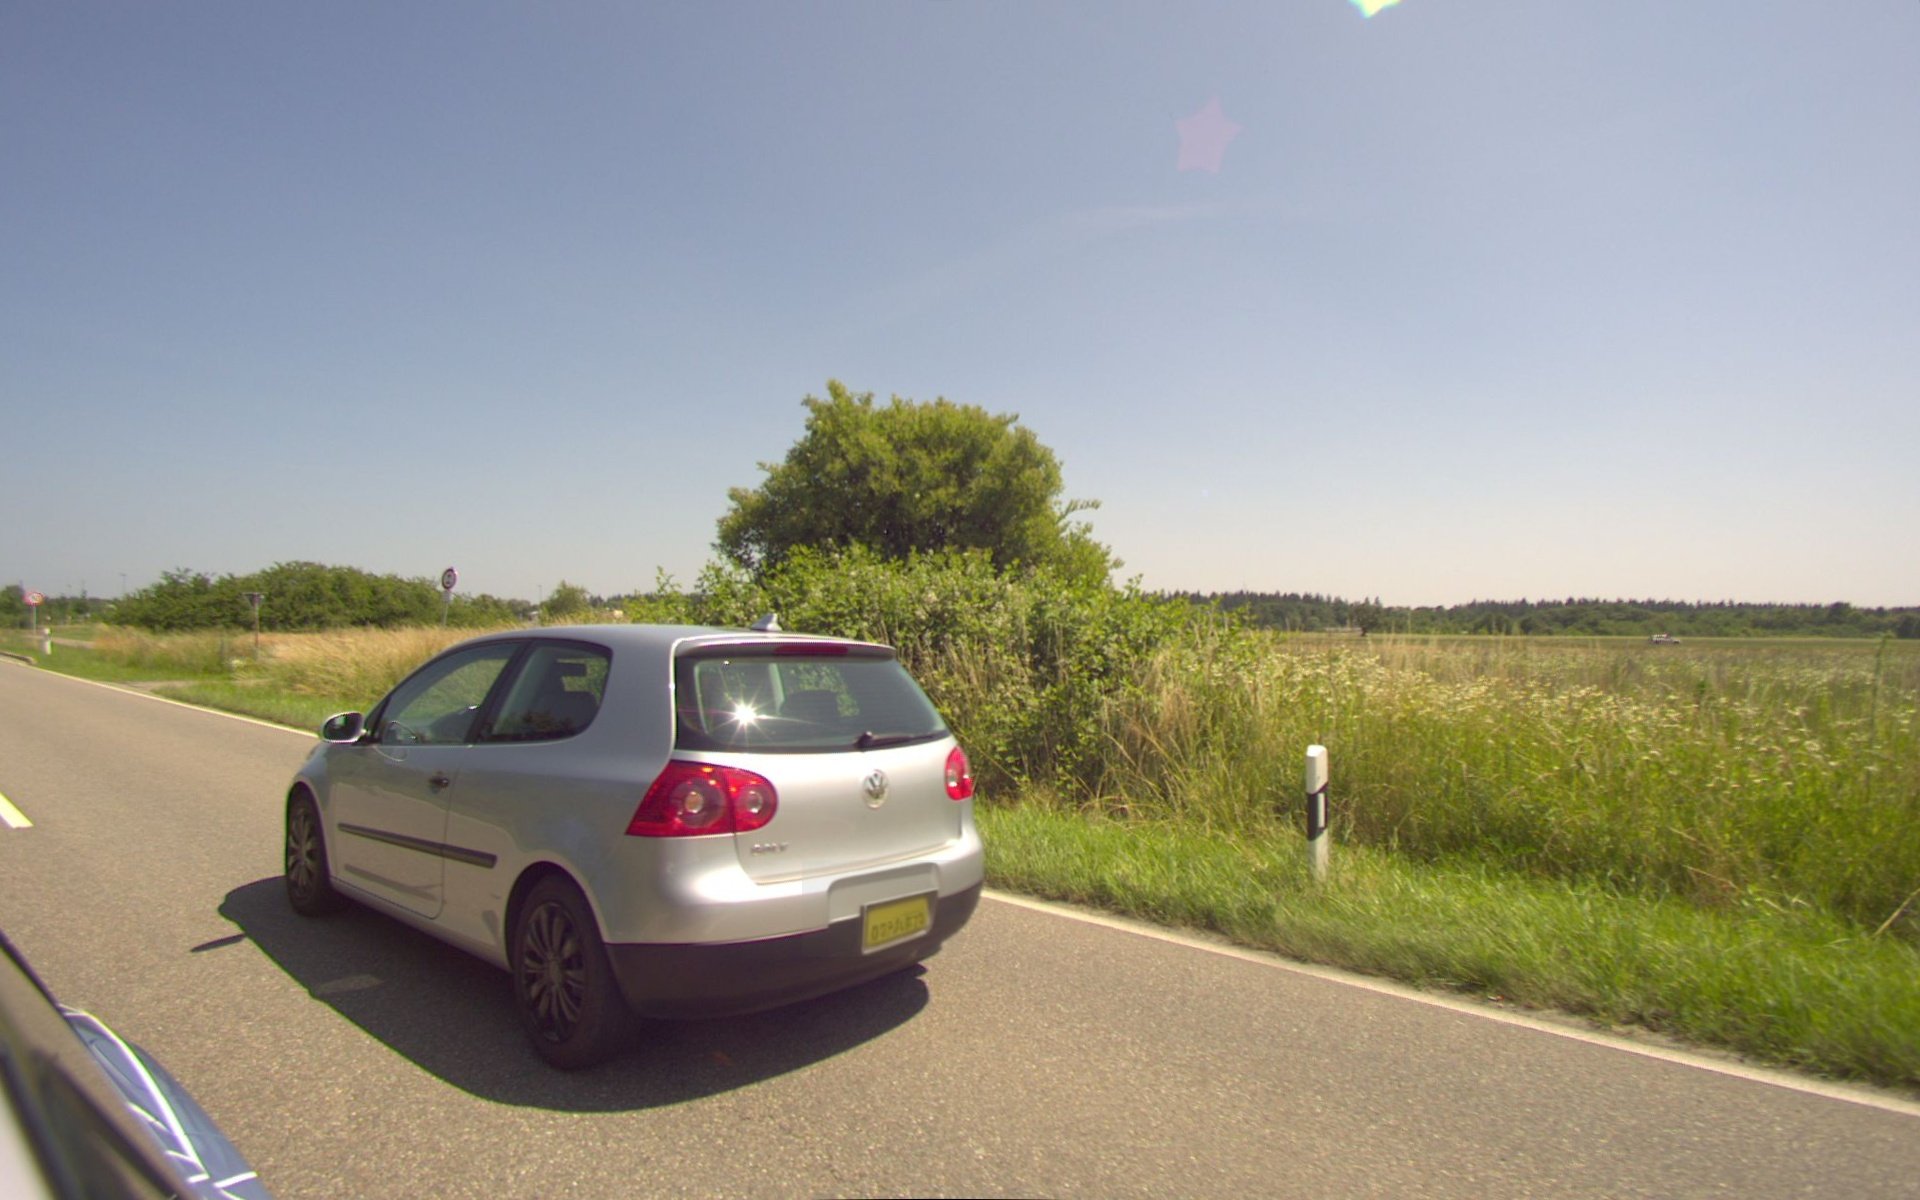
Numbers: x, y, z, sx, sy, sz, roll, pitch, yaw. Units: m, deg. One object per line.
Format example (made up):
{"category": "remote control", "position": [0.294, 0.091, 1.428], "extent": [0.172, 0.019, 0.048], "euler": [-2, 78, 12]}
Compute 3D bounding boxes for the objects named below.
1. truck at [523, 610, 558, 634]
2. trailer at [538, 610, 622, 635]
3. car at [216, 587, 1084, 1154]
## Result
{"category": "truck", "position": [-70.333, 3.745, 169.665], "extent": [4.730, 3.964, 2.633], "euler": [0, -2, 12]}
{"category": "trailer", "position": [-63.079, 3.728, 168.025], "extent": [13.739, 3.964, 2.633], "euler": [0, -2, 13]}
{"category": "car", "position": [-1.751, 0.759, 4.659], "extent": [4.419, 1.432, 1.661], "euler": [-1, -4, 40]}
